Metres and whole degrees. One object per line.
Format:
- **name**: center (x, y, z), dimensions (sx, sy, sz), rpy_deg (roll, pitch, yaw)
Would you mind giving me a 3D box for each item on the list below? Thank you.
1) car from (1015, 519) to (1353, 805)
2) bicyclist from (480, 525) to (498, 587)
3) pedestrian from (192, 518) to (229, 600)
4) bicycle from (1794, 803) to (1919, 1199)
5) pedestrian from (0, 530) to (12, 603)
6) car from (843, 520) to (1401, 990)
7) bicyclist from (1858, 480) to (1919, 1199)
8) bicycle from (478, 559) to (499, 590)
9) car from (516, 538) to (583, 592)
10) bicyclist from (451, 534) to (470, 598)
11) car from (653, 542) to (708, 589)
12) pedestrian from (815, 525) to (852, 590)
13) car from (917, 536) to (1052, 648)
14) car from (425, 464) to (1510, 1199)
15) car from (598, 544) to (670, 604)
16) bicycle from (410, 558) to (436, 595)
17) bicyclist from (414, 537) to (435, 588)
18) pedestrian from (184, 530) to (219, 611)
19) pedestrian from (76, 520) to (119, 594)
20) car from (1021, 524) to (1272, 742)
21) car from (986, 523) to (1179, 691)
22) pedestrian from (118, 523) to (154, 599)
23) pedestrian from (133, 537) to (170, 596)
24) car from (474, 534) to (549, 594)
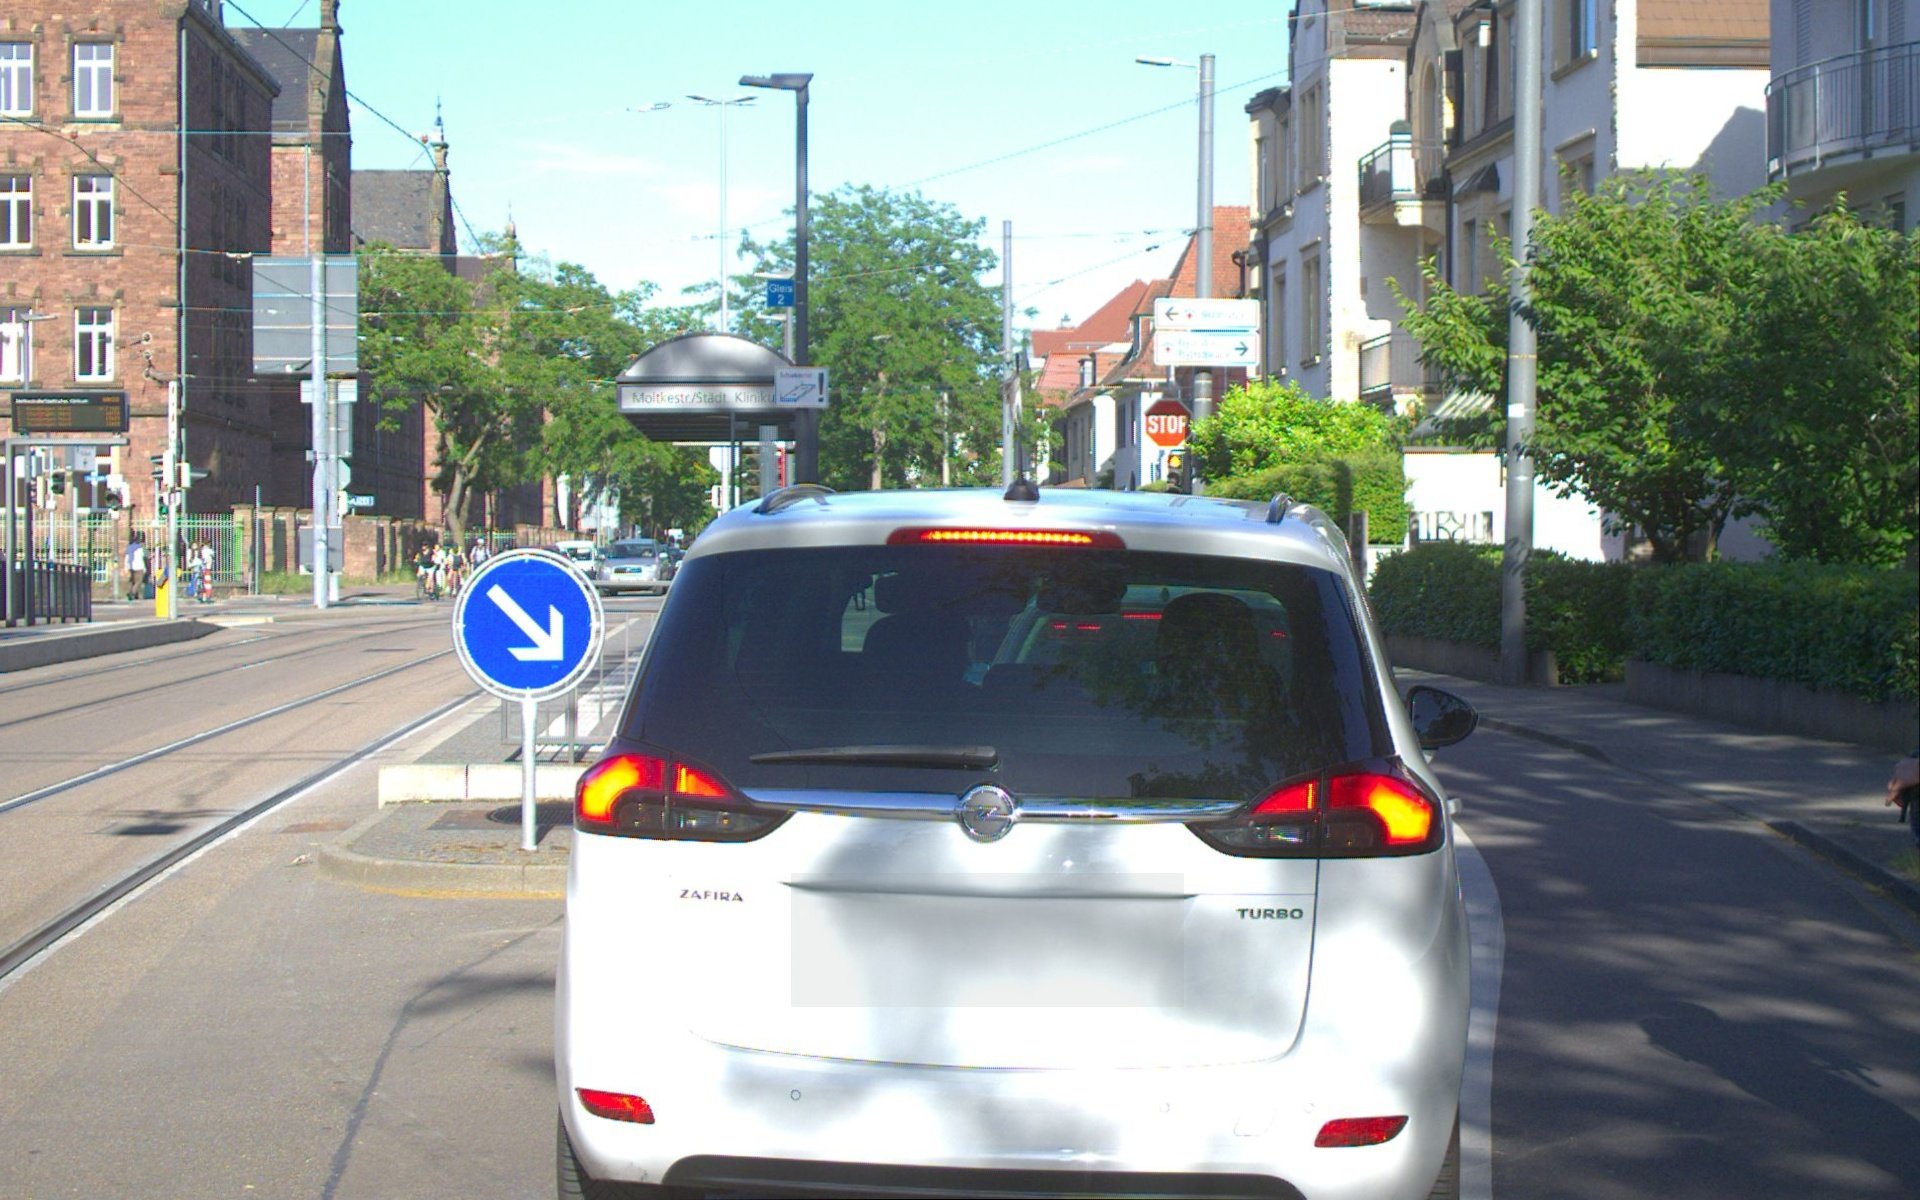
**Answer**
- **car**: center (1.500, 0.316, 21.606), dimensions (1.907, 1.619, 3.999), rpy_deg (0, 1, 7)
- **bicyclist**: center (-15.257, -1.433, 111.345), dimensions (0.488, 2.007, 0.502), rpy_deg (1, 0, -1)
- **pedestrian**: center (-18.528, -1.010, 84.968), dimensions (0.794, 2.007, 0.721), rpy_deg (1, 0, -17)
- **bicycle**: center (2.514, 1.005, 7.972), dimensions (0.676, 0.922, 1.885), rpy_deg (0, 1, -1)
- **pedestrian**: center (-23.531, -0.820, 83.784), dimensions (0.766, 1.768, 0.721), rpy_deg (1, 0, -17)
- **car**: center (0.778, 0.489, 13.766), dimensions (1.907, 1.592, 3.999), rpy_deg (0, 1, 7)
- **bicyclist**: center (2.523, 0.552, 7.962), dimensions (0.676, 1.652, 0.745), rpy_deg (0, 1, -1)
- **bicycle**: center (-15.263, -0.825, 111.337), dimensions (0.487, 0.968, 1.405), rpy_deg (1, 0, 0)
- **car**: center (-13.551, -1.164, 113.705), dimensions (1.746, 1.710, 4.000), rpy_deg (1, 1, -1)
- **bicyclist**: center (-15.695, -1.060, 108.039), dimensions (0.498, 2.007, 0.572), rpy_deg (1, 0, -1)
- **car**: center (-10.486, -1.304, 129.062), dimensions (1.746, 1.710, 4.000), rpy_deg (1, 1, -1)
- **pedestrian**: center (-3.703, -1.244, 100.726), dimensions (0.741, 1.894, 0.810), rpy_deg (1, 0, -32)
- **car**: center (0.337, -0.153, 53.081), dimensions (1.907, 1.656, 4.001), rpy_deg (0, 1, -2)
- **car**: center (0.226, 0.556, 8.000), dimensions (1.907, 1.656, 3.999), rpy_deg (0, 1, 7)
- **car**: center (-9.575, -0.765, 101.160), dimensions (1.746, 1.710, 4.000), rpy_deg (1, 1, -1)
- **bicycle**: center (-15.723, -0.699, 100.660), dimensions (0.509, 1.073, 1.739), rpy_deg (1, 1, -1)
- **bicyclist**: center (-15.701, -1.105, 100.797), dimensions (0.531, 1.472, 0.572), rpy_deg (1, 0, -1)
- **pedestrian**: center (-19.104, -0.740, 86.529), dimensions (0.794, 2.007, 1.047), rpy_deg (1, 0, -15)
- **pedestrian**: center (-22.325, -1.103, 89.015), dimensions (0.808, 1.894, 0.743), rpy_deg (1, 0, 14)
- **car**: center (1.564, 0.214, 28.266), dimensions (1.907, 1.656, 4.000), rpy_deg (0, 1, 4)
- **car**: center (1.241, 0.033, 36.103), dimensions (1.907, 1.656, 4.000), rpy_deg (0, 1, 1)
- **pedestrian**: center (-21.897, -1.035, 91.373), dimensions (0.691, 2.007, 0.616), rpy_deg (1, 0, 41)
- **pedestrian**: center (-22.041, -0.911, 93.707), dimensions (0.655, 1.606, 0.710), rpy_deg (1, 0, 25)
- **car**: center (-13.259, -1.074, 101.817), dimensions (1.746, 1.710, 4.000), rpy_deg (1, 1, -1)
